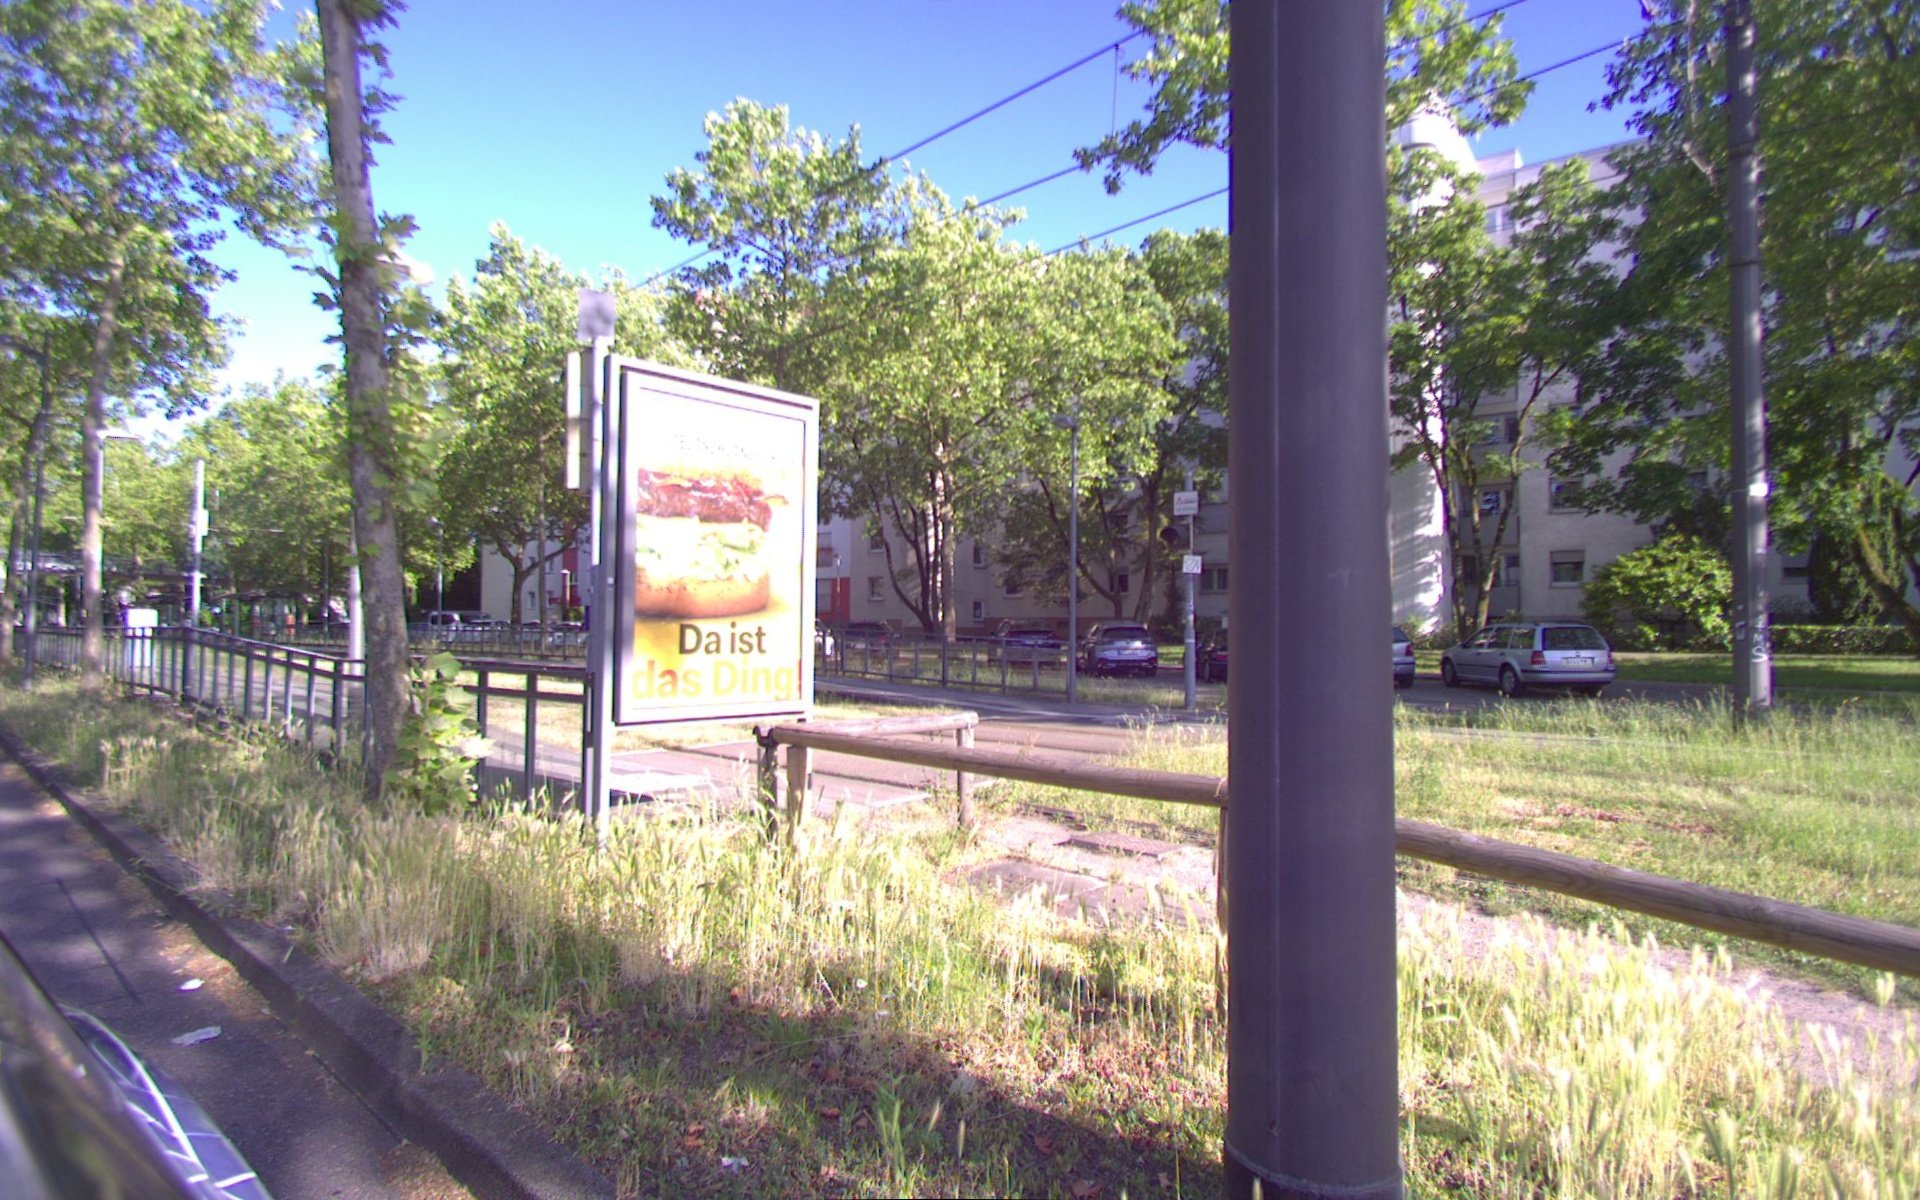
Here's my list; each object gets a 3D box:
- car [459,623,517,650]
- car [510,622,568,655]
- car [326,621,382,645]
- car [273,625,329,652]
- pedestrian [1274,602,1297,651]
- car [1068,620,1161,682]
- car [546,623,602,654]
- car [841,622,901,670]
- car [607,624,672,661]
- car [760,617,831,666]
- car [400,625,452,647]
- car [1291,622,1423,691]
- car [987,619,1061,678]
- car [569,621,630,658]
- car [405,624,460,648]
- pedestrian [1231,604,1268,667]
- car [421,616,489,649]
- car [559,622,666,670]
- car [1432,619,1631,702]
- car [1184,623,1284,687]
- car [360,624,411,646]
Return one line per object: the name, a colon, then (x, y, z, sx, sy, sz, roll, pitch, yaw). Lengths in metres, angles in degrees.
car: (-25.825, 1.989, 55.451, 1.605, 1.414, 3.488, 0, -1, -1)
car: (-21.191, 1.907, 51.068, 1.539, 1.436, 3.489, -3, 0, -2)
car: (-40.647, 2.188, 67.960, 1.578, 1.582, 3.830, 0, -1, -3)
car: (-39.267, 2.284, 60.265, 4.100, 1.523, 1.746, -1, -2, 41)
pedestrian: (11.780, 0.962, 36.629, 0.634, 1.770, 0.516, -1, -2, 39)
car: (4.134, 1.332, 27.670, 1.650, 1.469, 4.004, -1, 0, -4)
car: (-18.804, 1.859, 49.414, 1.459, 1.339, 3.488, -2, 0, -1)
car: (-2.996, 1.539, 34.661, 1.538, 1.439, 3.761, -1, 0, 3)
car: (-14.020, 1.837, 44.477, 1.470, 1.425, 3.880, -1, 0, 3)
car: (-5.986, 1.483, 37.211, 1.791, 1.607, 3.997, -1, 0, 3)
car: (-33.026, 2.211, 62.707, 1.459, 1.311, 3.488, 0, -1, -1)
car: (9.136, 1.244, 23.590, 1.553, 1.431, 3.620, -1, -1, -1)
car: (1.816, 1.366, 29.790, 1.669, 1.499, 4.003, -1, 0, -4)
car: (-16.669, 1.801, 46.925, 1.445, 1.519, 3.393, -1, 0, 3)
car: (-30.929, 2.072, 59.460, 1.459, 1.354, 3.488, 0, -1, -1)
pedestrian: (8.299, 1.012, 29.032, 0.755, 1.770, 0.752, -1, -2, 41)
car: (-28.437, 1.810, 57.138, 1.843, 1.826, 4.047, 0, -1, 0)
car: (-12.067, 1.551, 35.003, 4.332, 1.534, 1.785, -1, -2, 45)
car: (11.521, 1.157, 20.744, 1.685, 1.454, 3.978, -1, 0, -2)
car: (6.750, 1.312, 25.330, 1.572, 1.360, 3.922, -1, 0, 3)
car: (-37.480, 2.274, 66.104, 1.459, 1.330, 3.488, 0, -1, -1)
